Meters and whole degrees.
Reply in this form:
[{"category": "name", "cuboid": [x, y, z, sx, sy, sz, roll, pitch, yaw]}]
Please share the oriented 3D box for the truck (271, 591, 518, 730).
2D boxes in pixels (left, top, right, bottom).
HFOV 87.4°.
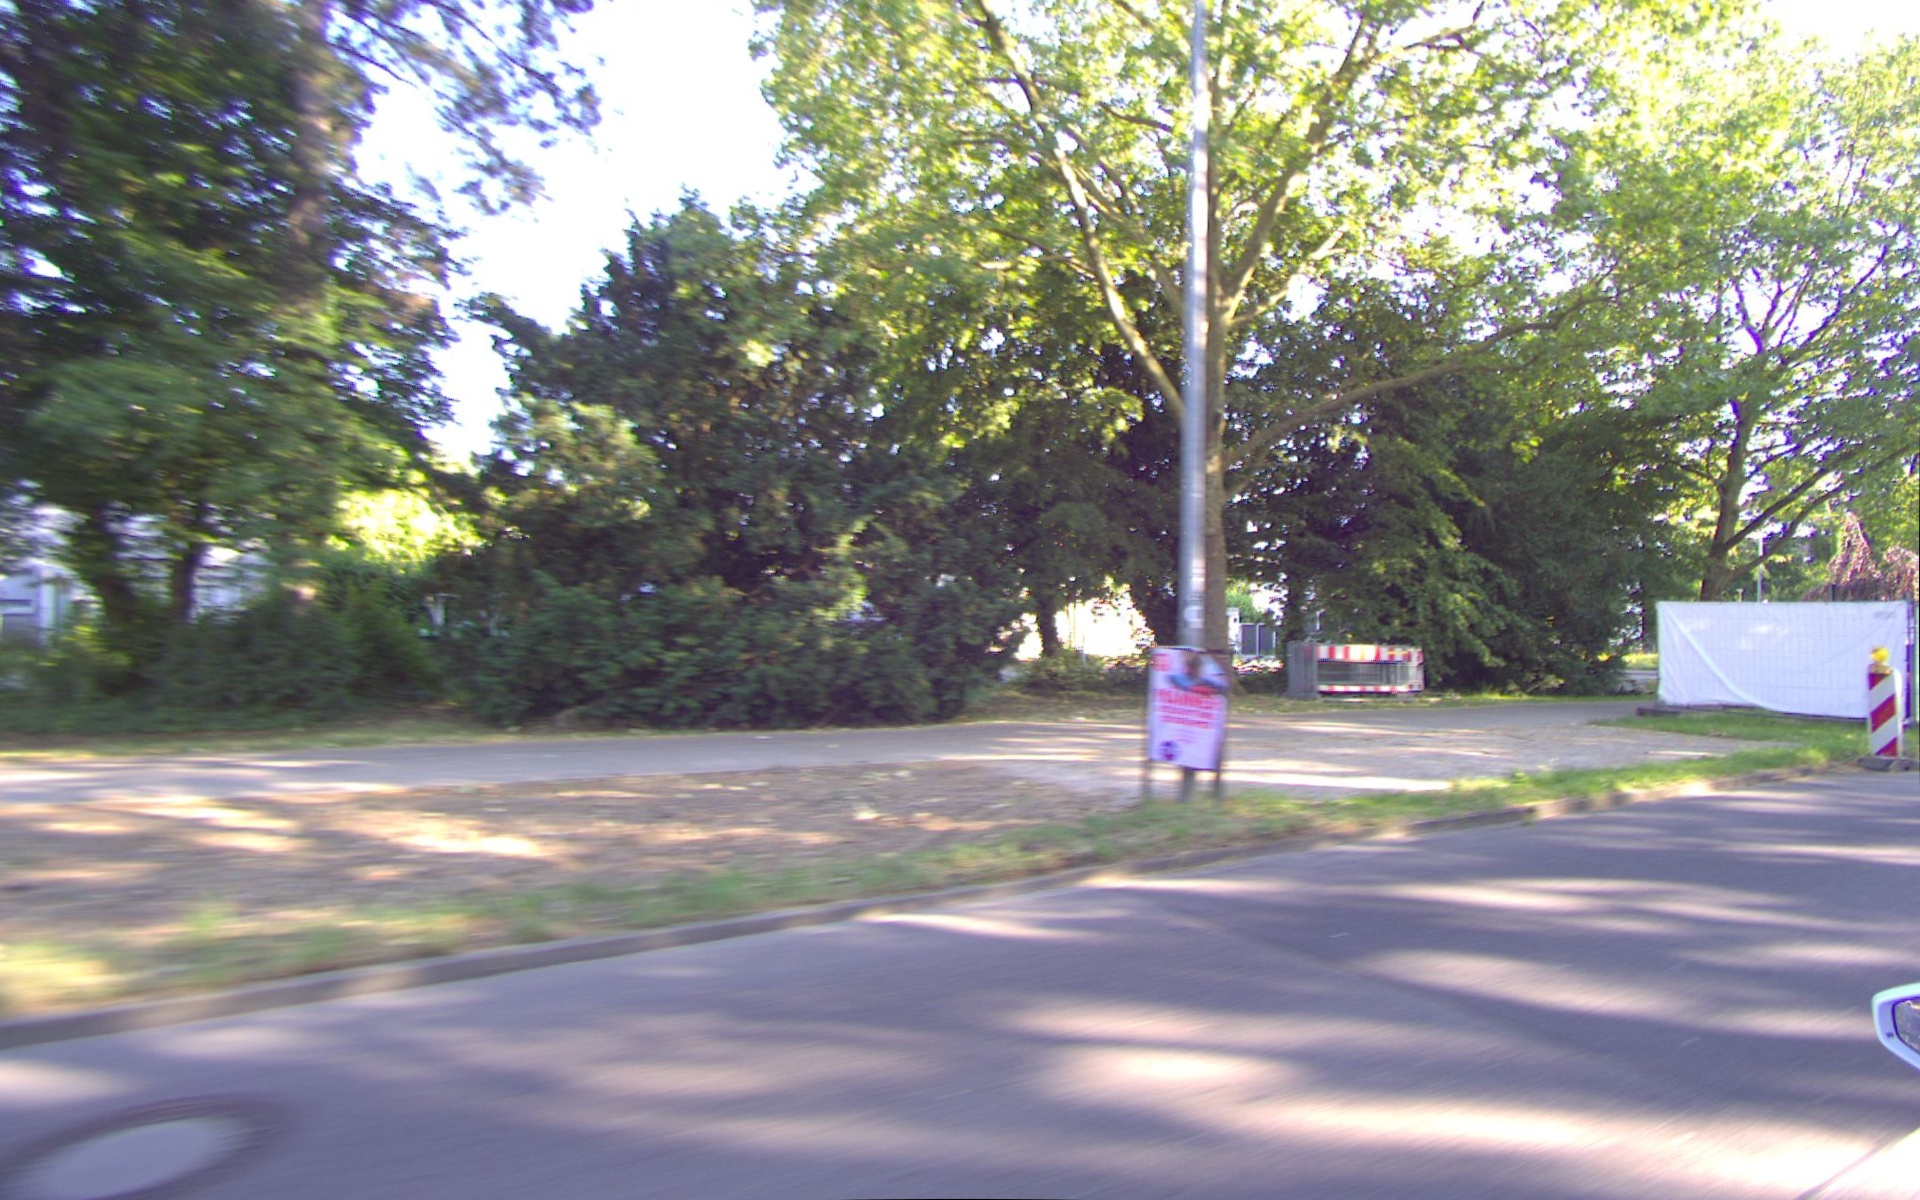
[{"category": "truck", "cuboid": [-10.834, 1.146, 19.545, 3.950, 2.450, 2.072, 1, -3, -28]}]
